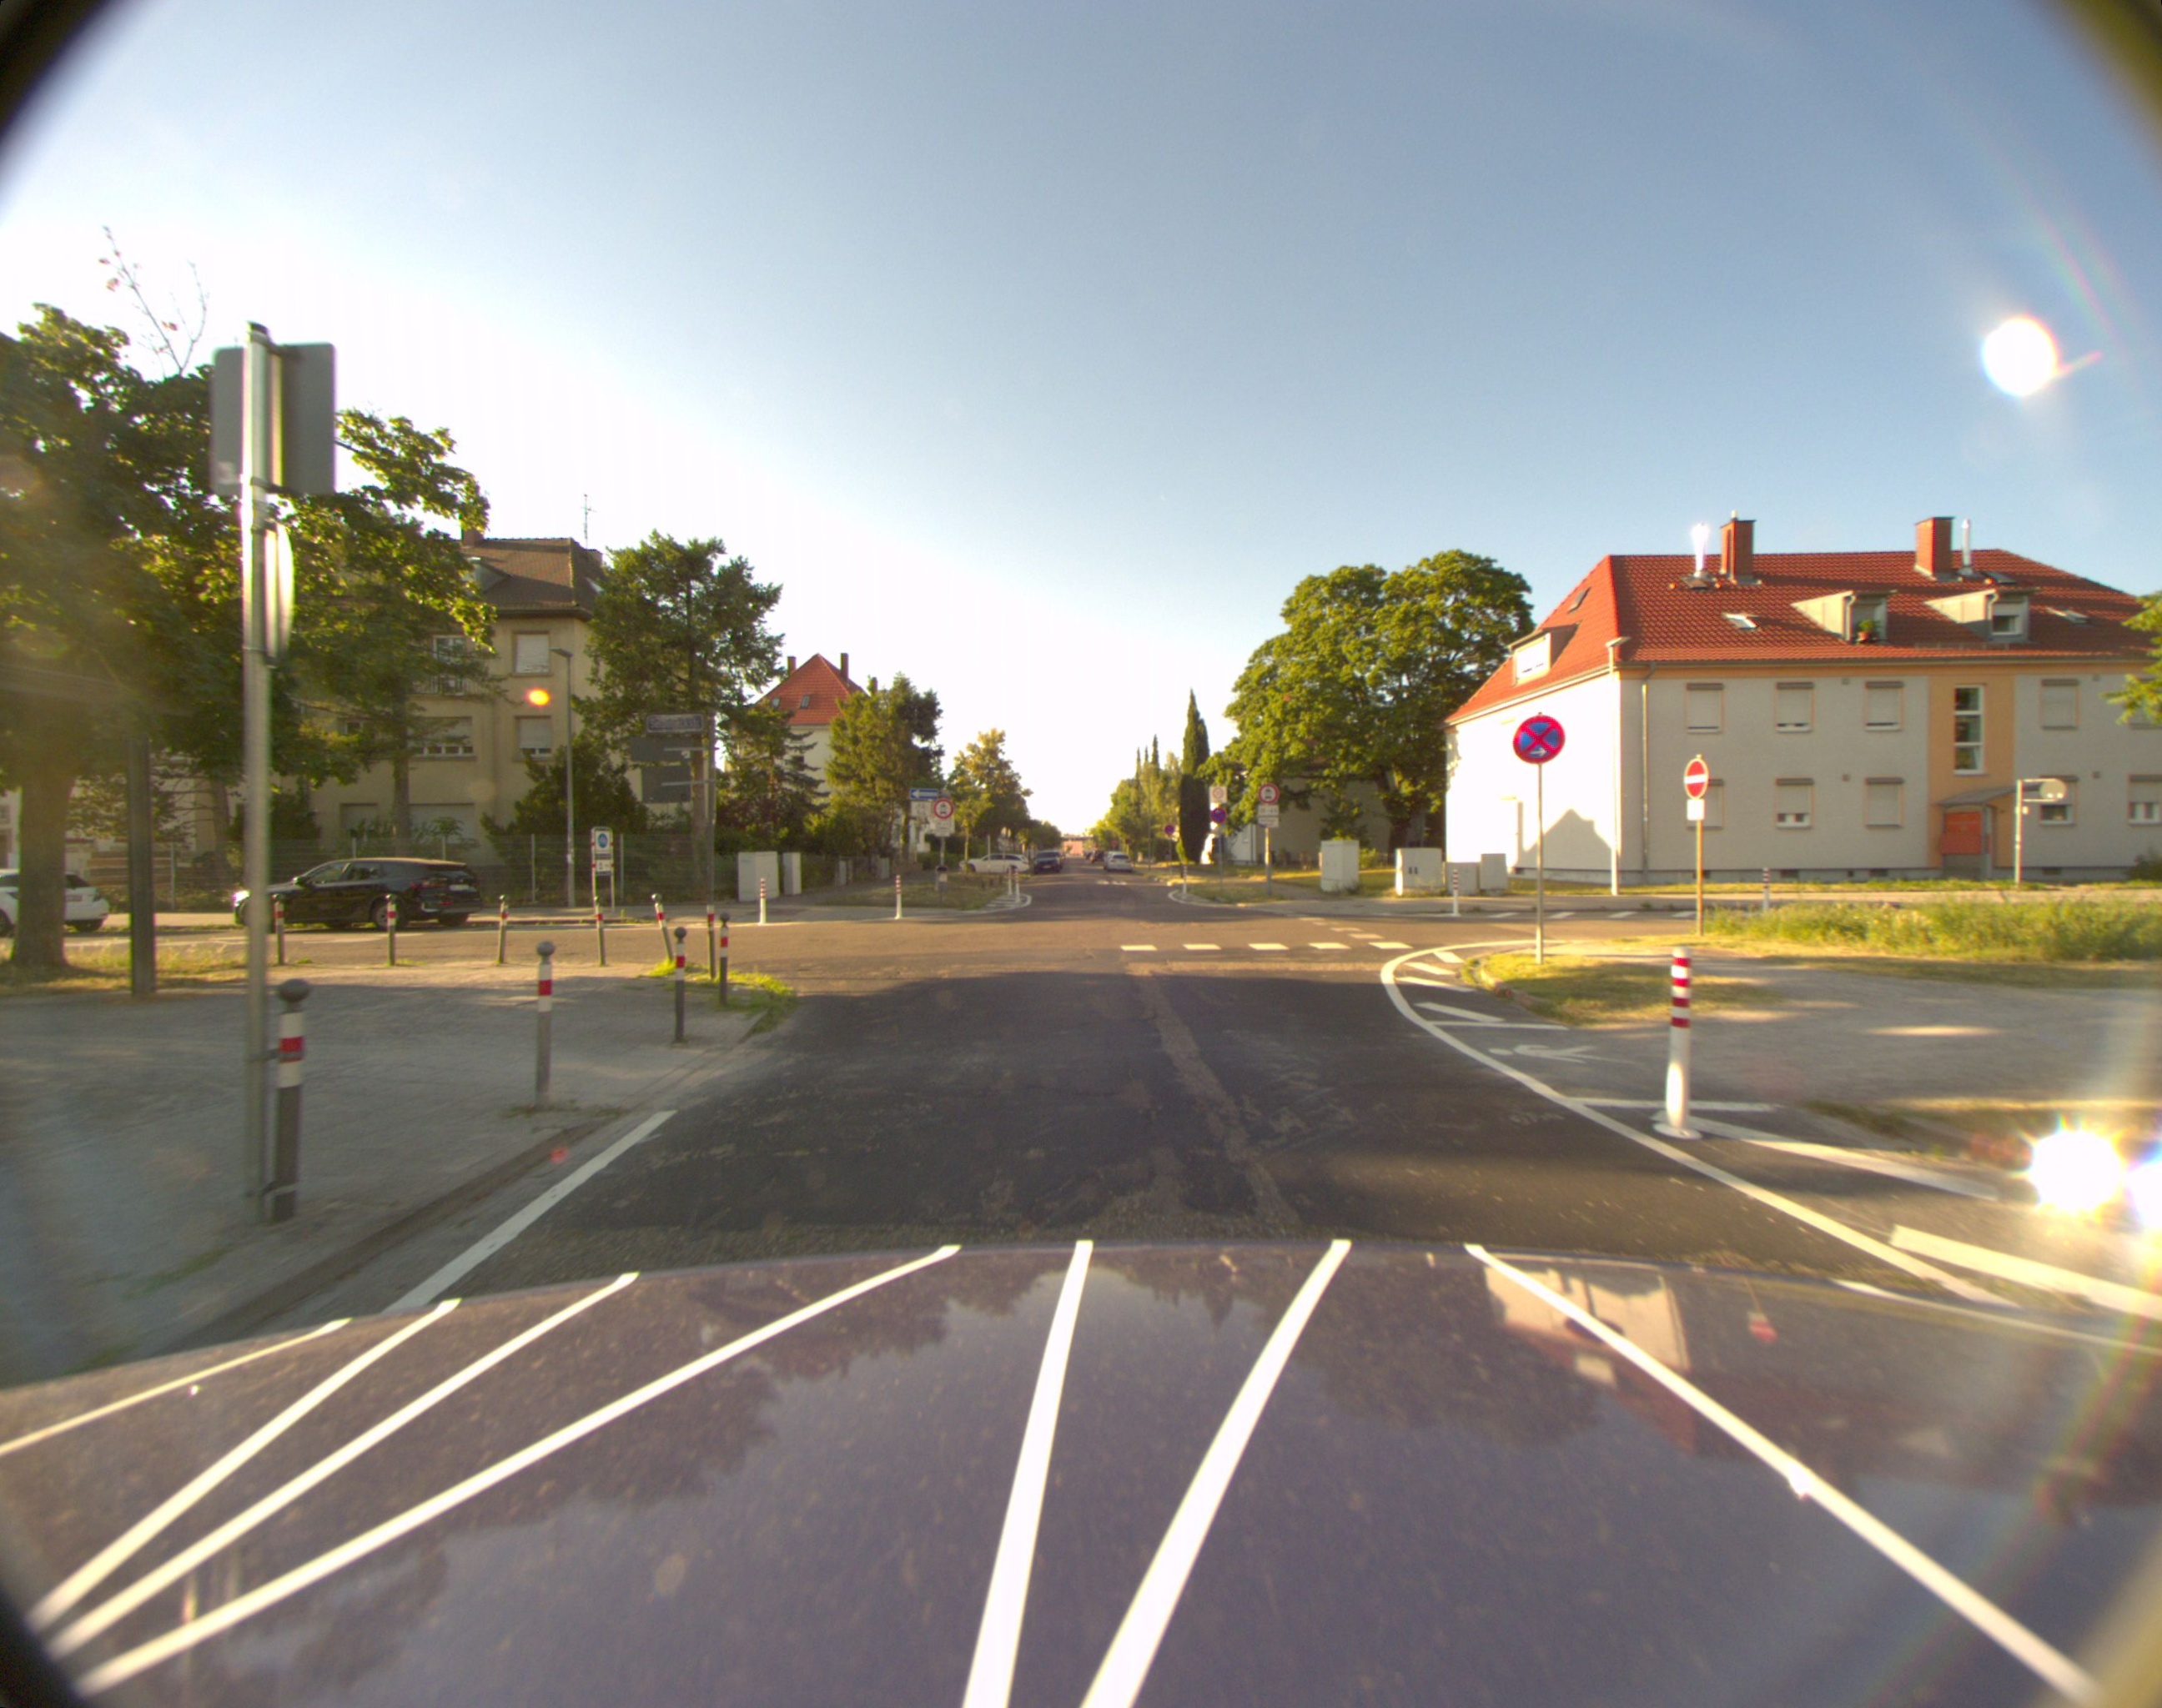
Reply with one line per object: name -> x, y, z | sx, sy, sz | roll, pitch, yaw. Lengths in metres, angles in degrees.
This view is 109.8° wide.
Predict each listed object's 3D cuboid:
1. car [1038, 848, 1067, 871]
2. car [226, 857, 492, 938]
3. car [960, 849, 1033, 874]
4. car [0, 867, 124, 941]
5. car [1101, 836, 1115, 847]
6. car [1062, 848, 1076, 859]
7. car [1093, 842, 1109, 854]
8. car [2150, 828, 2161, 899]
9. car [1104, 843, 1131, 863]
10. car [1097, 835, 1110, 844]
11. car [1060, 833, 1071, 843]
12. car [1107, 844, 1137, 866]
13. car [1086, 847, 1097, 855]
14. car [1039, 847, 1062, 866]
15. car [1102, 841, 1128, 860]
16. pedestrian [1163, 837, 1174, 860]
car -> -2.165, 0.397, 56.399 | 1.971, 1.604, 4.245 | -1, 1, -4
car -> -16.069, 0.955, 17.080 | 4.213, 1.631, 1.823 | -1, -2, 0
car -> -5.737, 0.484, 52.054 | 4.835, 1.604, 1.971 | 1, 1, -2
car -> -24.830, 1.127, 17.310 | 3.770, 1.517, 1.770 | -1, 2, 1
car -> 4.179, -1.938, 117.799 | 1.970, 1.604, 4.246 | -1, 1, -2
car -> -1.860, -0.142, 118.263 | 1.971, 1.604, 4.245 | -1, 1, -4
car -> 2.676, -0.798, 102.725 | 1.970, 1.604, 4.246 | -1, 1, -1
car -> 27.673, 0.183, 17.364 | 3.998, 1.685, 1.851 | -1, -1, -2
car -> 3.016, -0.109, 63.250 | 1.970, 1.604, 4.246 | -1, 1, -1
car -> 3.954, -2.515, 133.835 | 1.970, 1.604, 4.246 | -1, 1, -1
car -> -2.939, -3.015, 143.828 | 1.971, 1.765, 4.245 | -1, 1, -4
car -> 3.049, 0.059, 57.622 | 1.970, 1.604, 4.246 | -1, 1, -1
car -> 1.961, -0.600, 146.581 | 1.970, 1.604, 4.246 | -1, 1, -1
car -> -2.773, 0.170, 68.479 | 1.971, 1.604, 4.245 | -1, 1, -4
car -> 3.009, -0.297, 67.973 | 1.970, 1.604, 4.246 | -1, 1, -1
pedestrian -> 7.676, -0.450, 66.597 | 0.898, 2.002, 0.692 | -1, 1, -1
